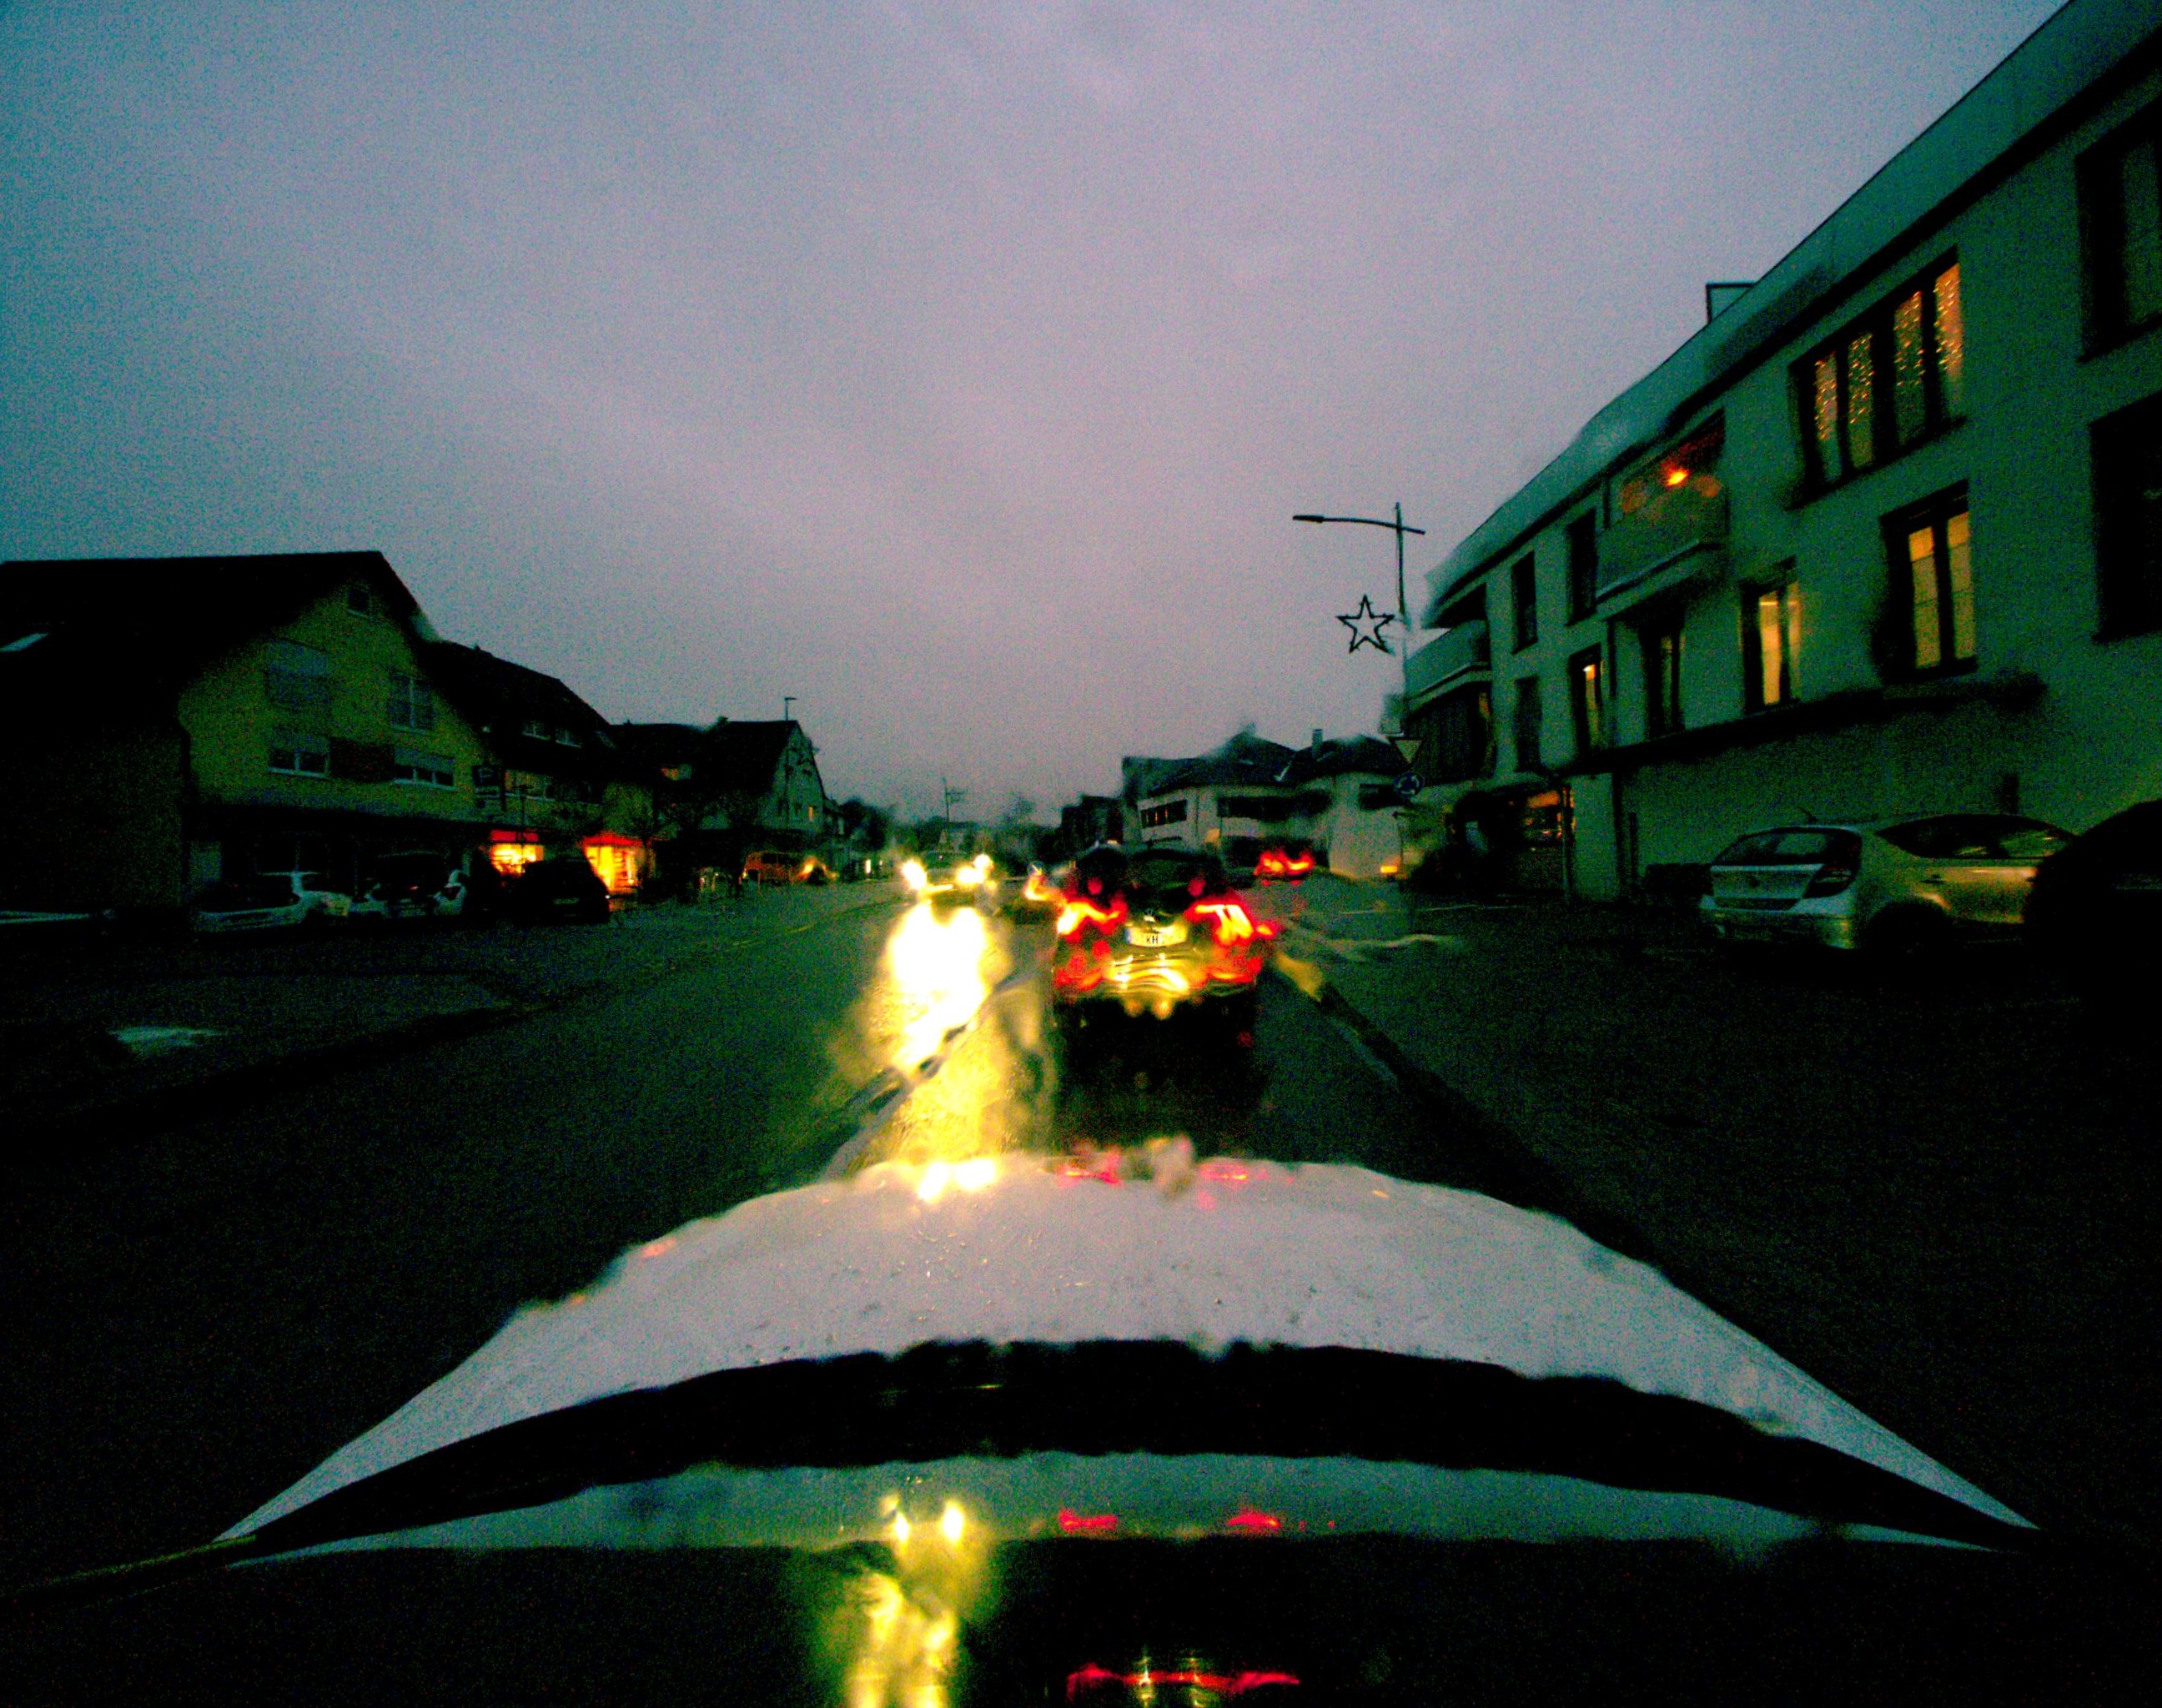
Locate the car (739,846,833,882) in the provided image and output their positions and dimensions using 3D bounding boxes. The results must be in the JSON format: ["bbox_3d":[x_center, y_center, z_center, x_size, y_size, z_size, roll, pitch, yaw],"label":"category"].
[{"bbox_3d":[-17.122,0.574,47.308,4.846,2.014,2.009,-1,-1,16],"label":"car"}]

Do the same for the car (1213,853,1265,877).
[{"bbox_3d":[10.131,0.704,52.486,1.649,1.465,3.977,0,-1,-17],"label":"car"}]

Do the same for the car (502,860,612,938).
[{"bbox_3d":[-12.409,0.985,19.226,1.922,1.531,4.135,-3,1,-35],"label":"car"}]

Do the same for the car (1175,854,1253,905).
[{"bbox_3d":[5.262,0.961,31.757,1.804,1.628,4.025,-3,1,27],"label":"car"}]

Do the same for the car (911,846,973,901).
[{"bbox_3d":[-4.366,0.552,26.001,1.777,1.621,3.947,0,0,-7],"label":"car"}]

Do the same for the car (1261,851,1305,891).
[{"bbox_3d":[10.286,0.829,41.316,1.787,1.861,4.019,-3,0,18],"label":"car"}]

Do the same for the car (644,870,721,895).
[{"bbox_3d":[-23.887,1.696,48.906,3.806,1.422,1.719,-1,-3,8],"label":"car"}]

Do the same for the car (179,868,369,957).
[{"bbox_3d":[-17.699,1.176,18.109,1.769,1.631,3.965,-3,1,-27],"label":"car"}]

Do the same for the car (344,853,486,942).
[{"bbox_3d":[-14.793,0.901,18.313,1.846,1.670,3.858,-3,1,-31],"label":"car"}]

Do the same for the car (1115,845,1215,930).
[{"bbox_3d":[1.639,0.618,17.052,1.771,1.539,3.934,-1,0,2],"label":"car"}]

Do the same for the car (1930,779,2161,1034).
[{"bbox_3d":[8.529,0.153,5.115,4.500,1.492,1.971,-4,-2,-5],"label":"car"}]

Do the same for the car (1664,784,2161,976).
[{"bbox_3d":[8.425,0.224,8.146,3.983,1.503,1.809,-3,-2,-7],"label":"car"}]

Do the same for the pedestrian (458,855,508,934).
[{"bbox_3d":[-13.575,0.906,18.495,0.845,1.711,0.716,-3,0,-37],"label":"pedestrian"}]

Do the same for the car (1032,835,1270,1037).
[{"bbox_3d":[0.618,0.657,8.525,1.908,1.615,3.951,0,0,1],"label":"car"}]

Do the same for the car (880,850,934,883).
[{"bbox_3d":[-10.127,0.715,47.236,1.731,1.813,4.094,0,-1,-32],"label":"car"}]
